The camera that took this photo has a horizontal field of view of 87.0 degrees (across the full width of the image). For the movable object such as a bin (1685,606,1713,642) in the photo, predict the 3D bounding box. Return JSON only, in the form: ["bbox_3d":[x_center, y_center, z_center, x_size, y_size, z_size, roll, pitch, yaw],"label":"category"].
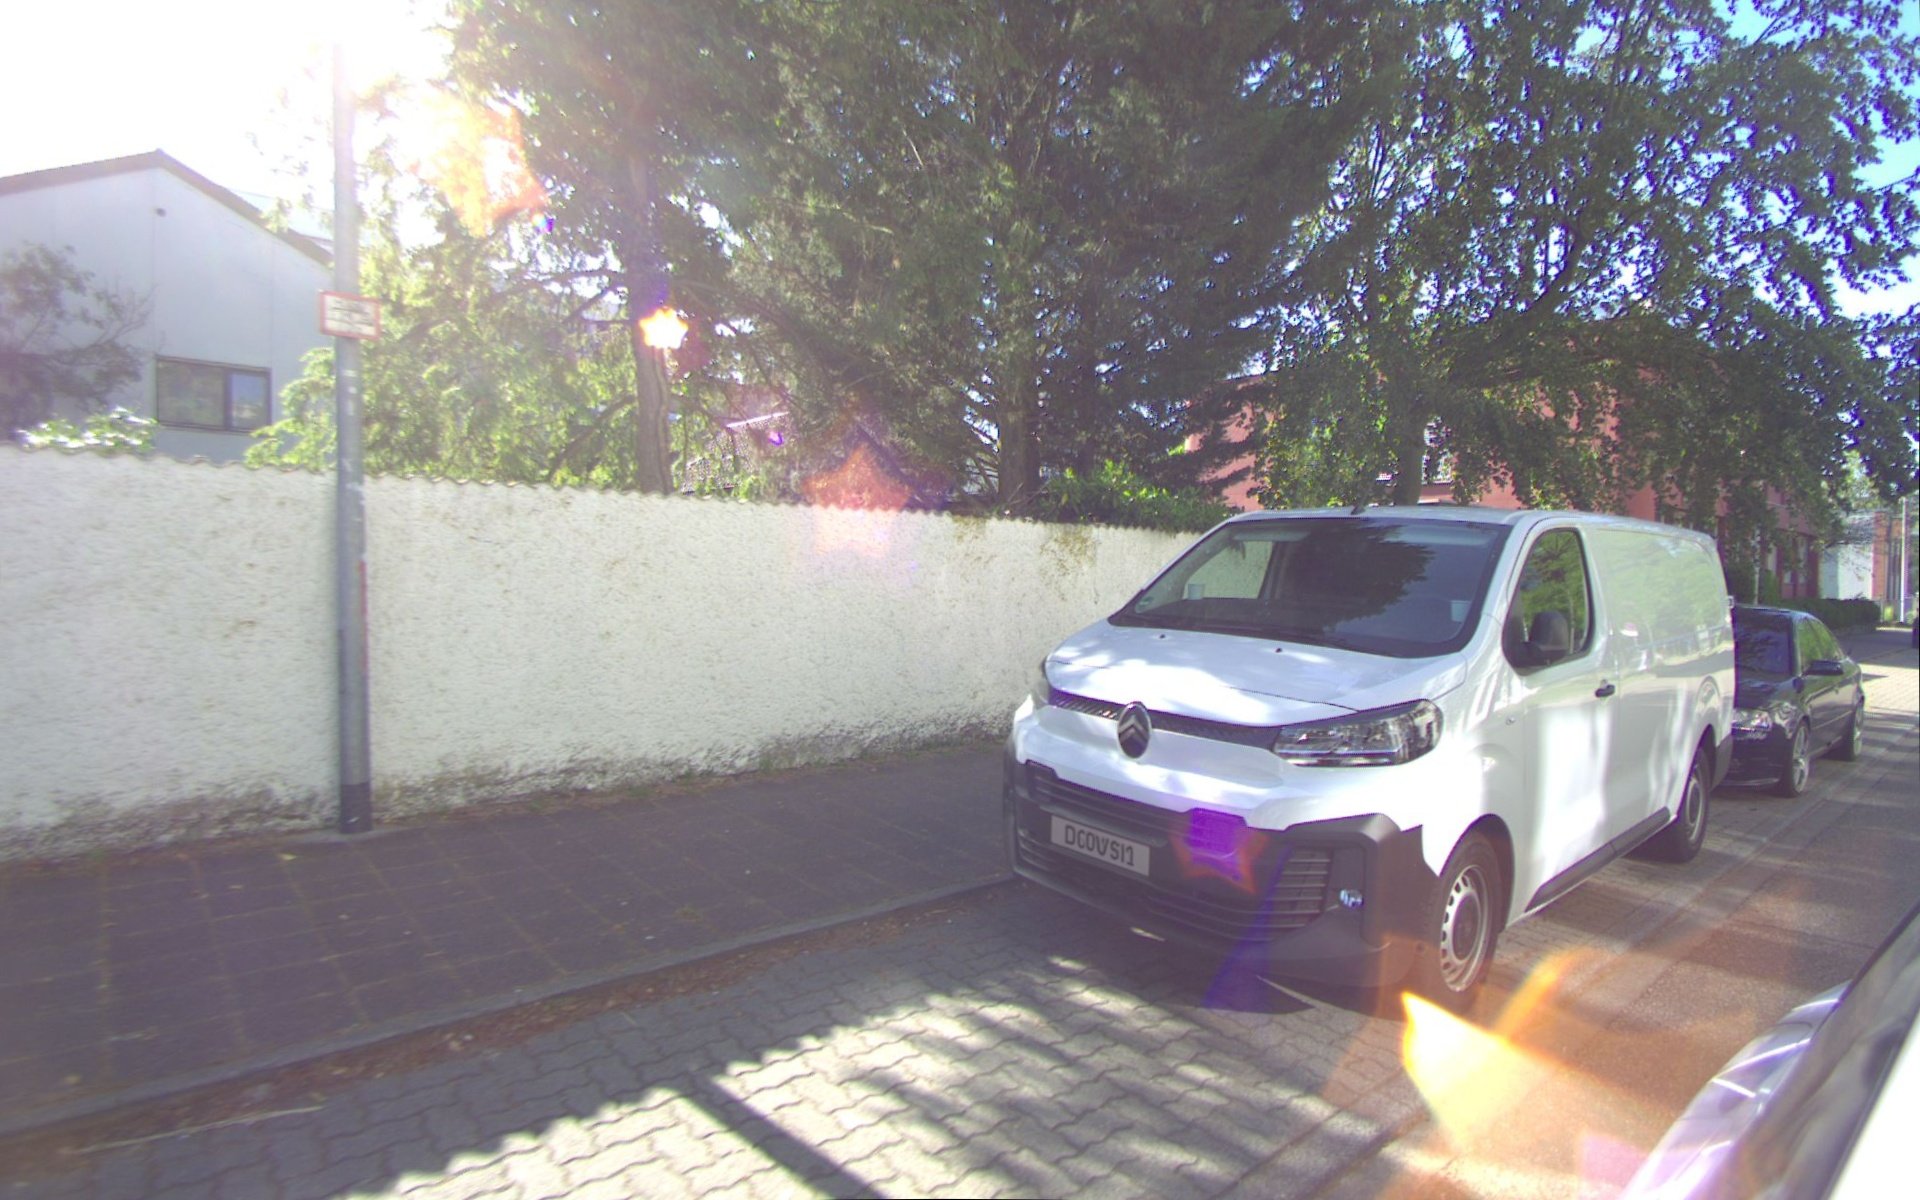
[{"bbox_3d":[19.350,0.623,26.503,0.466,0.912,0.478,0,0,-40],"label":"movable object such as a bin"}]

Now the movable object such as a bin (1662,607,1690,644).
[{"bbox_3d":[18.041,0.629,25.494,0.466,0.912,0.478,0,0,-40],"label":"movable object such as a bin"}]

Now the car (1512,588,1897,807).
[{"bbox_3d":[6.747,0.653,9.004,4.208,1.441,1.829,0,2,-41],"label":"car"}]

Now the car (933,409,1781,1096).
[{"bbox_3d":[2.428,0.385,5.228,5.057,1.937,1.902,0,2,-41],"label":"car"}]
